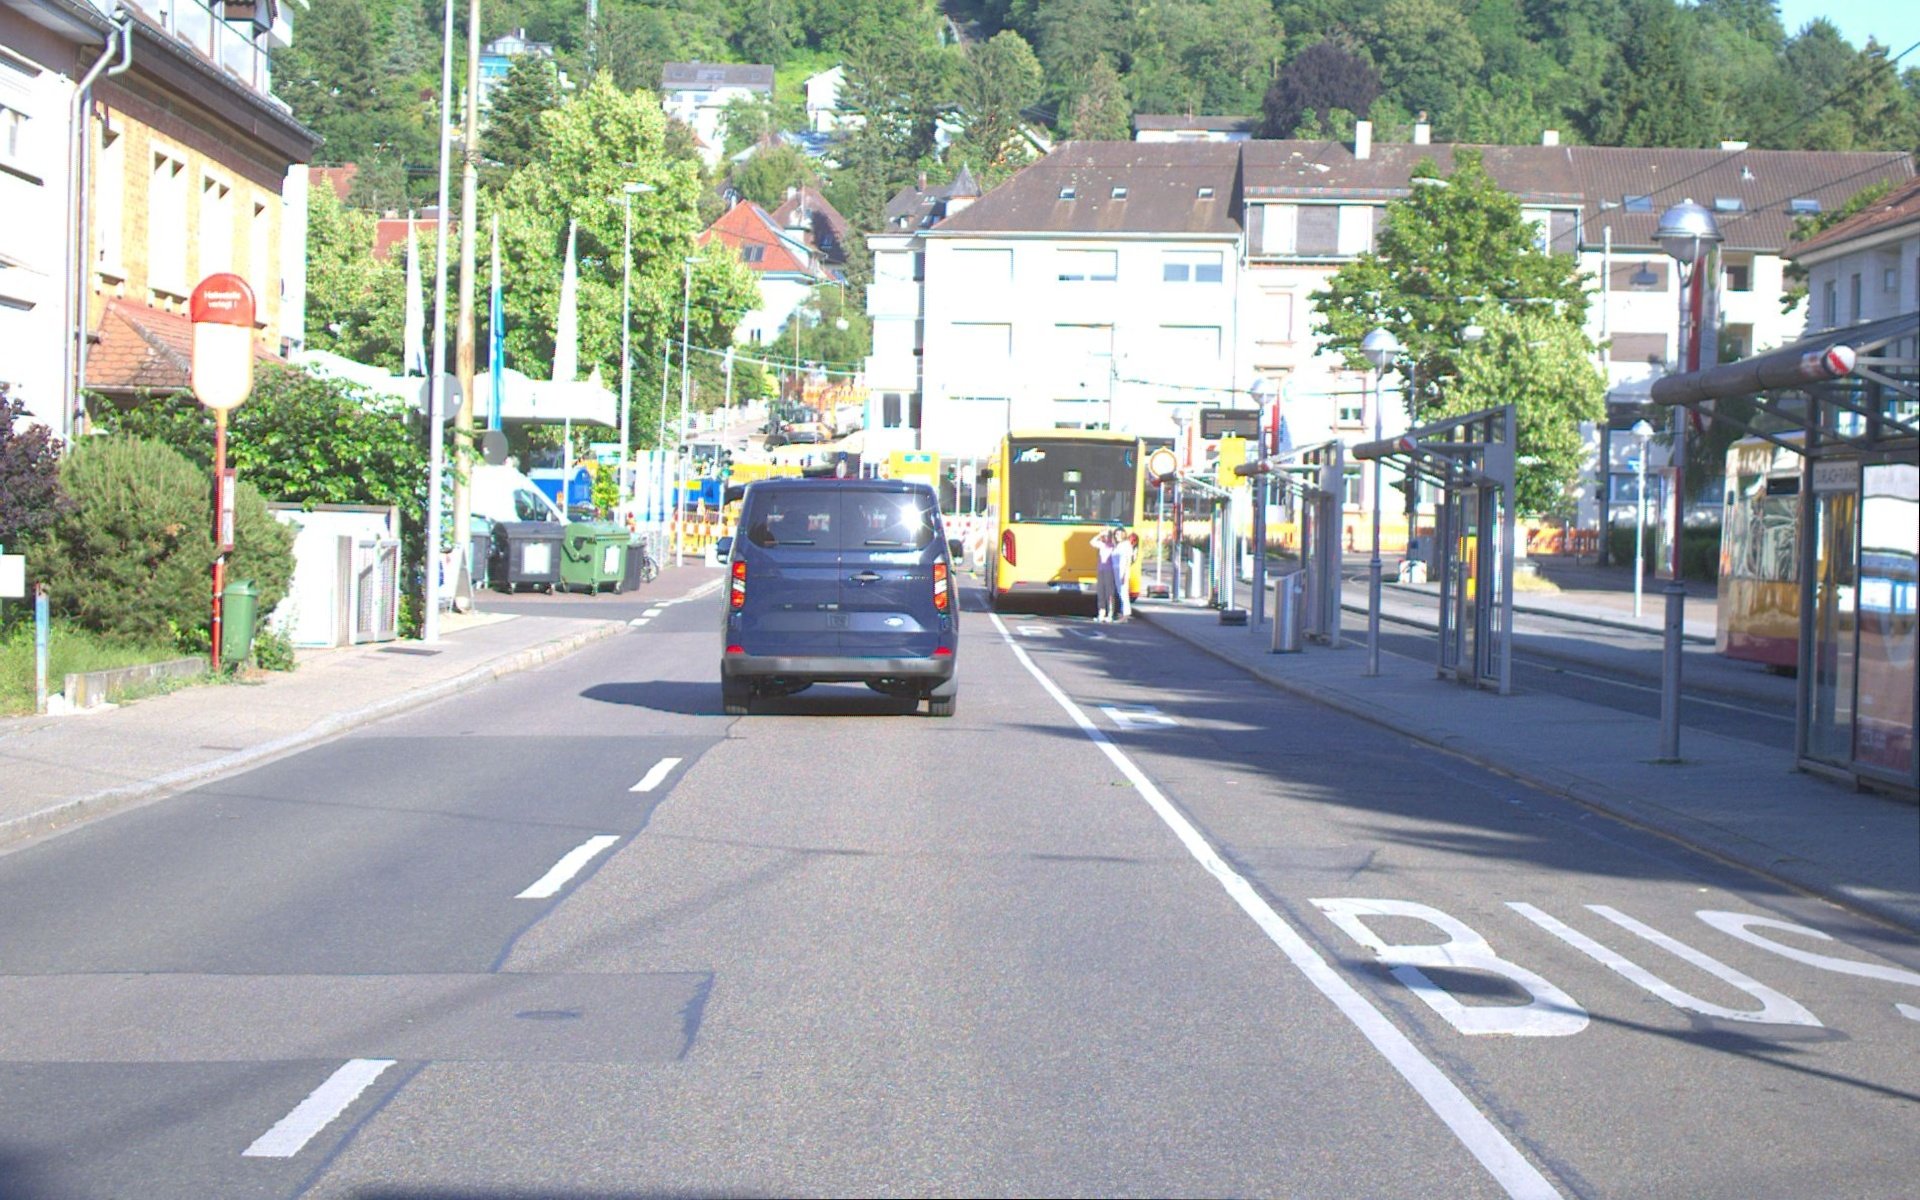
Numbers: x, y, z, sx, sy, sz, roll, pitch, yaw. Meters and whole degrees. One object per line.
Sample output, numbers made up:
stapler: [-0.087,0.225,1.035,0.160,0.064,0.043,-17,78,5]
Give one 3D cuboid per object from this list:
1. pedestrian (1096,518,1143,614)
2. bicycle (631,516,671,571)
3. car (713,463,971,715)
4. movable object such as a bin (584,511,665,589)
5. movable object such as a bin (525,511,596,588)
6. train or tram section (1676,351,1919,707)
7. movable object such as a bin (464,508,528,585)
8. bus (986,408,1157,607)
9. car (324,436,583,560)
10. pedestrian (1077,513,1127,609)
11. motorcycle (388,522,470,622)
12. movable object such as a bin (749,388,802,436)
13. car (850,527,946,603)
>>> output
pedestrian: [2.697,-0.573,58.210,0.544,1.607,0.549,0,2,-38]
bicycle: [-6.884,-1.258,76.518,0.723,1.174,1.781,1,2,-10]
car: [-0.987,-0.150,30.263,2.062,2.007,5.001,-1,1,-1]
movable object such as a bin: [-6.822,-1.024,69.938,1.056,1.477,1.310,4,5,28]
movable object such as a bin: [-8.015,-1.023,69.027,1.218,1.477,0.704,-1,5,-29]
train or tram section: [10.948,-0.731,36.885,2.957,3.522,15.971,0,1,-1]
movable object such as a bin: [-9.257,-1.073,68.550,1.218,1.477,0.704,1,5,-5]
bus: [1.981,-1.816,65.689,2.688,3.404,12.020,1,2,-1]
car: [-10.839,-2.175,73.574,5.054,2.461,2.109,1,2,-22]
pedestrian: [2.417,-0.666,58.575,0.544,1.607,0.636,0,2,-38]
motorcycle: [-7.054,-0.388,45.715,0.839,1.278,2.233,2,1,-4]
movable object such as a bin: [-10.824,-11.026,201.827,2.192,2.681,3.998,2,2,11]
car: [-1.234,-0.714,67.943,1.794,1.405,4.001,2,1,-1]
